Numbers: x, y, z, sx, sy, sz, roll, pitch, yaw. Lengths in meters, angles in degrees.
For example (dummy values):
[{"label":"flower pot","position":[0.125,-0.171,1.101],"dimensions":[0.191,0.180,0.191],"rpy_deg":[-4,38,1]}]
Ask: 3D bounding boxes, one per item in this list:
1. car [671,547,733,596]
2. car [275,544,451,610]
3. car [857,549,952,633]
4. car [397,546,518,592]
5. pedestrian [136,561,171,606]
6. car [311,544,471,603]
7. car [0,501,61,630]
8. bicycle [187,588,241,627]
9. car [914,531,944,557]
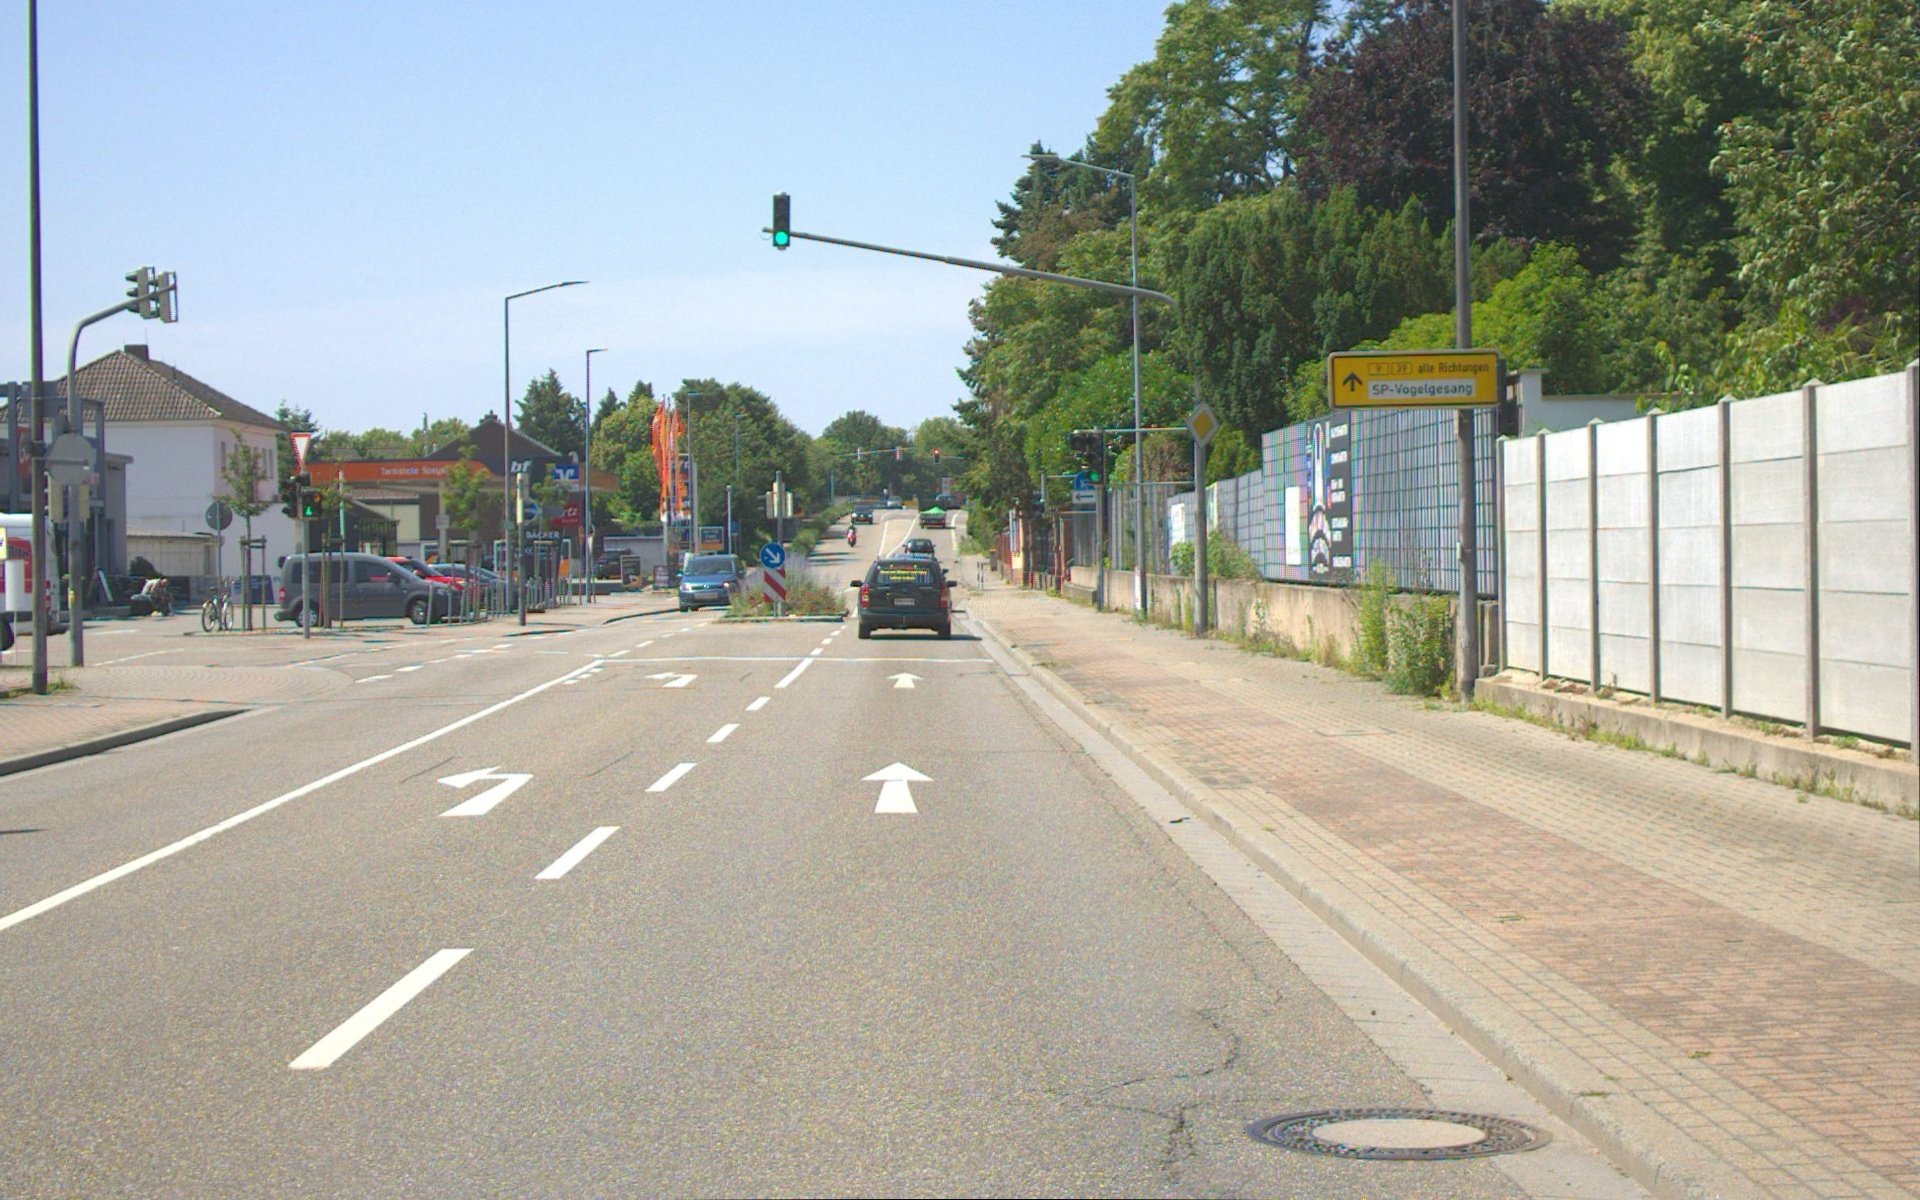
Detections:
[{"label":"car","position":[-7.514,-0.849,100.204],"dimensions":[1.586,1.388,3.472],"rpy_deg":[-1,1,-1]},{"label":"car","position":[-14.290,-0.558,82.422],"dimensions":[3.986,1.503,1.555],"rpy_deg":[-1,1,-4]},{"label":"car","position":[-1.011,-0.177,62.183],"dimensions":[1.665,1.450,3.472],"rpy_deg":[-1,1,-1]},{"label":"car","position":[-17.167,-1.056,117.554],"dimensions":[3.986,1.503,1.555],"rpy_deg":[-1,1,-4]},{"label":"pedestrian","position":[-22.517,-0.467,96.006],"dimensions":[0.613,1.256,0.755],"rpy_deg":[0,1,26]},{"label":"car","position":[-14.888,-0.702,90.026],"dimensions":[3.986,1.503,1.555],"rpy_deg":[-1,1,-4]},{"label":"car","position":[-20.208,-0.678,65.290],"dimensions":[5.926,2.414,2.000],"rpy_deg":[1,-1,-12]},{"label":"bicycle","position":[-15.876,0.153,73.190],"dimensions":[0.612,0.790,2.575],"rpy_deg":[-1,1,-1]},{"label":"car","position":[-1.822,-3.275,201.318],"dimensions":[1.665,1.450,3.472],"rpy_deg":[-1,1,-1]}]
